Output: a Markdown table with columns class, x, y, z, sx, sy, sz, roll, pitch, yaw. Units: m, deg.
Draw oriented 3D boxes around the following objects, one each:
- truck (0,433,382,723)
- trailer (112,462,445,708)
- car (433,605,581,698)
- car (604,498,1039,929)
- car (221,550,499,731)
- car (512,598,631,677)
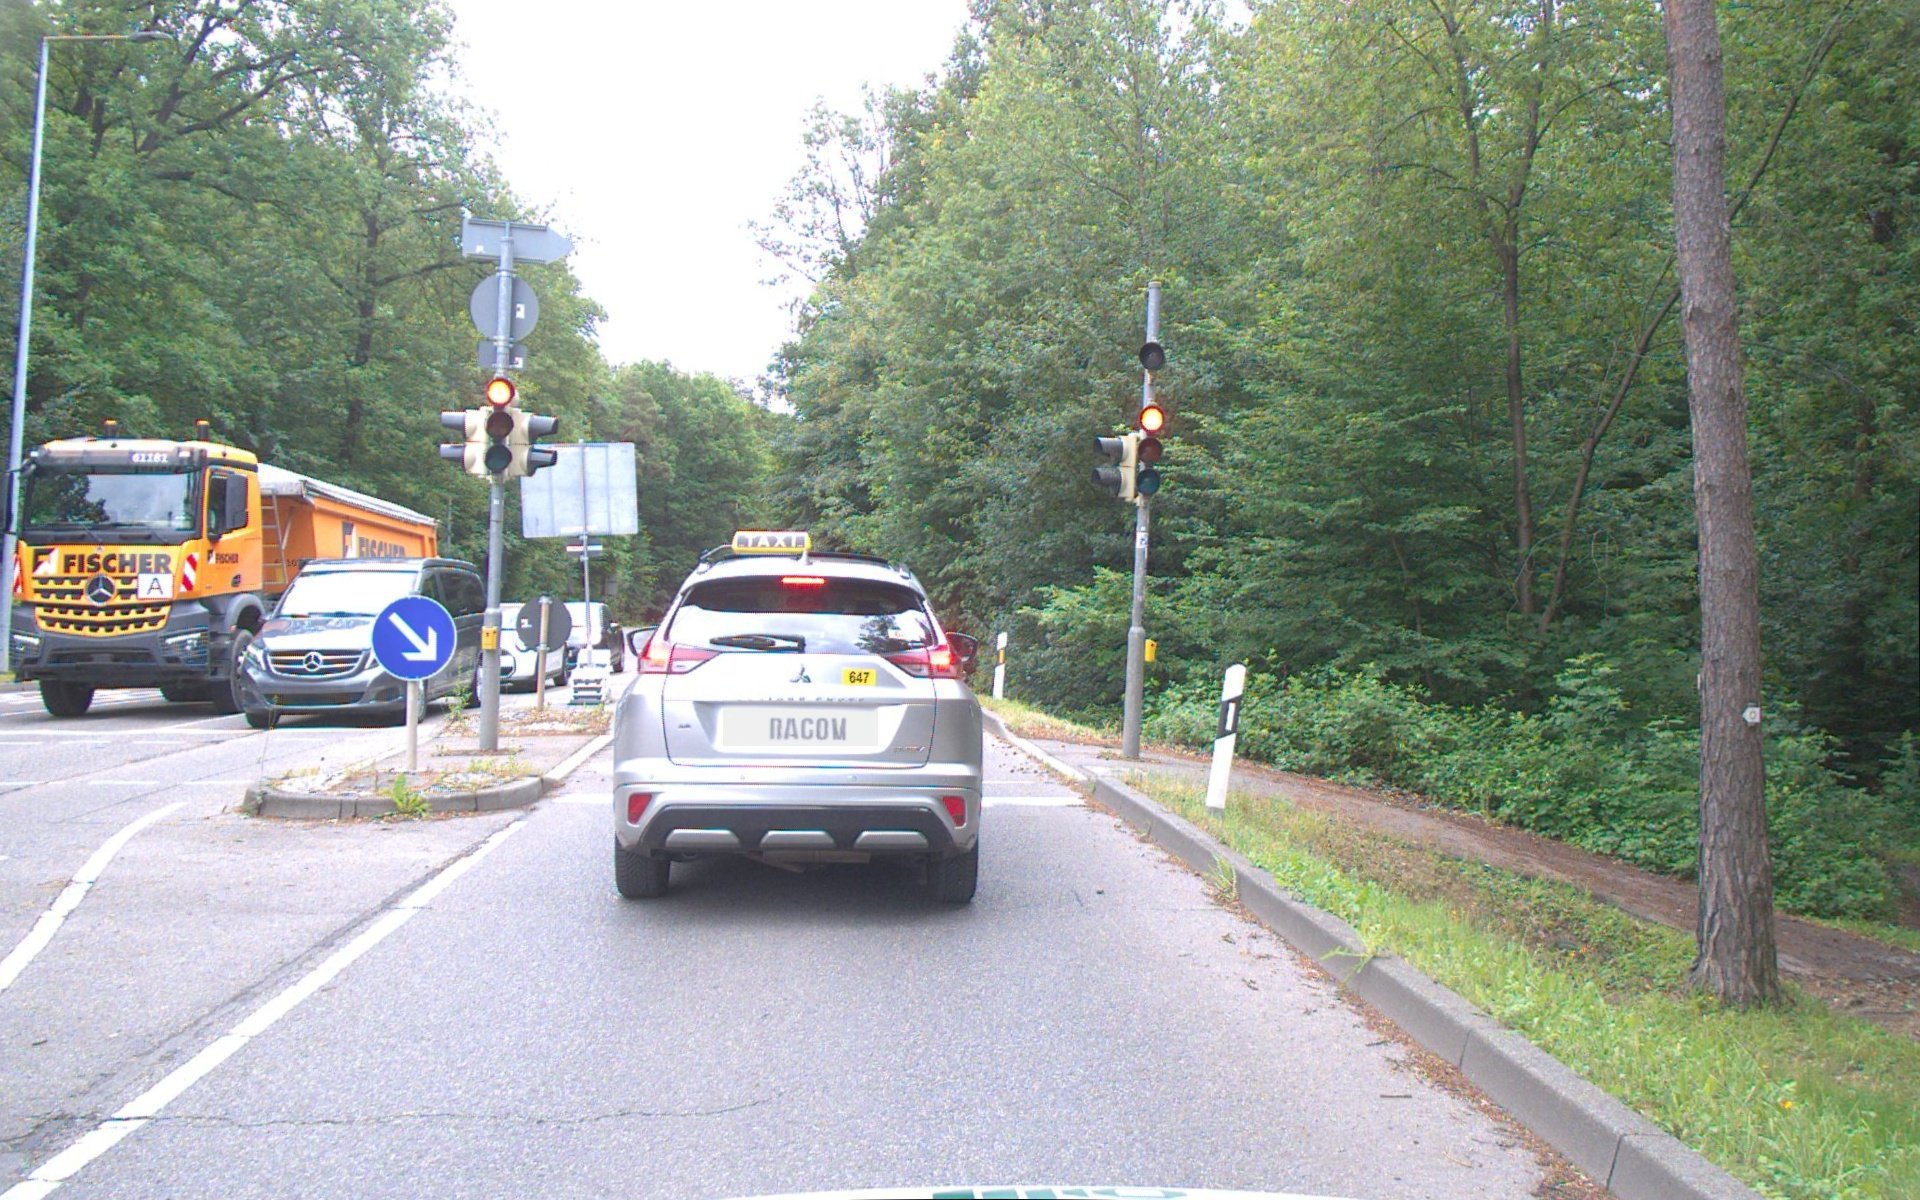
| class | x | y | z | sx | sy | sz | roll | pitch | yaw |
| --- | --- | --- | --- | --- | --- | --- | --- | --- | --- |
| truck | -10.289 | -0.215 | 22.920 | 2.686 | 3.376 | 7.150 | 0 | -1 | -6 |
| trailer | -10.709 | -0.155 | 27.071 | 2.686 | 3.376 | 8.557 | 0 | -1 | -6 |
| car | -7.427 | 0.797 | 27.440 | 1.580 | 1.344 | 3.719 | -1 | 1 | -3 |
| car | -0.780 | 0.469 | 9.166 | 1.811 | 1.811 | 3.996 | 2 | 1 | -6 |
| car | -7.145 | 0.449 | 20.272 | 1.954 | 1.927 | 4.834 | -1 | 0 | -5 |
| car | -8.106 | 0.759 | 34.788 | 1.775 | 1.534 | 3.719 | -1 | 0 | -3 |
